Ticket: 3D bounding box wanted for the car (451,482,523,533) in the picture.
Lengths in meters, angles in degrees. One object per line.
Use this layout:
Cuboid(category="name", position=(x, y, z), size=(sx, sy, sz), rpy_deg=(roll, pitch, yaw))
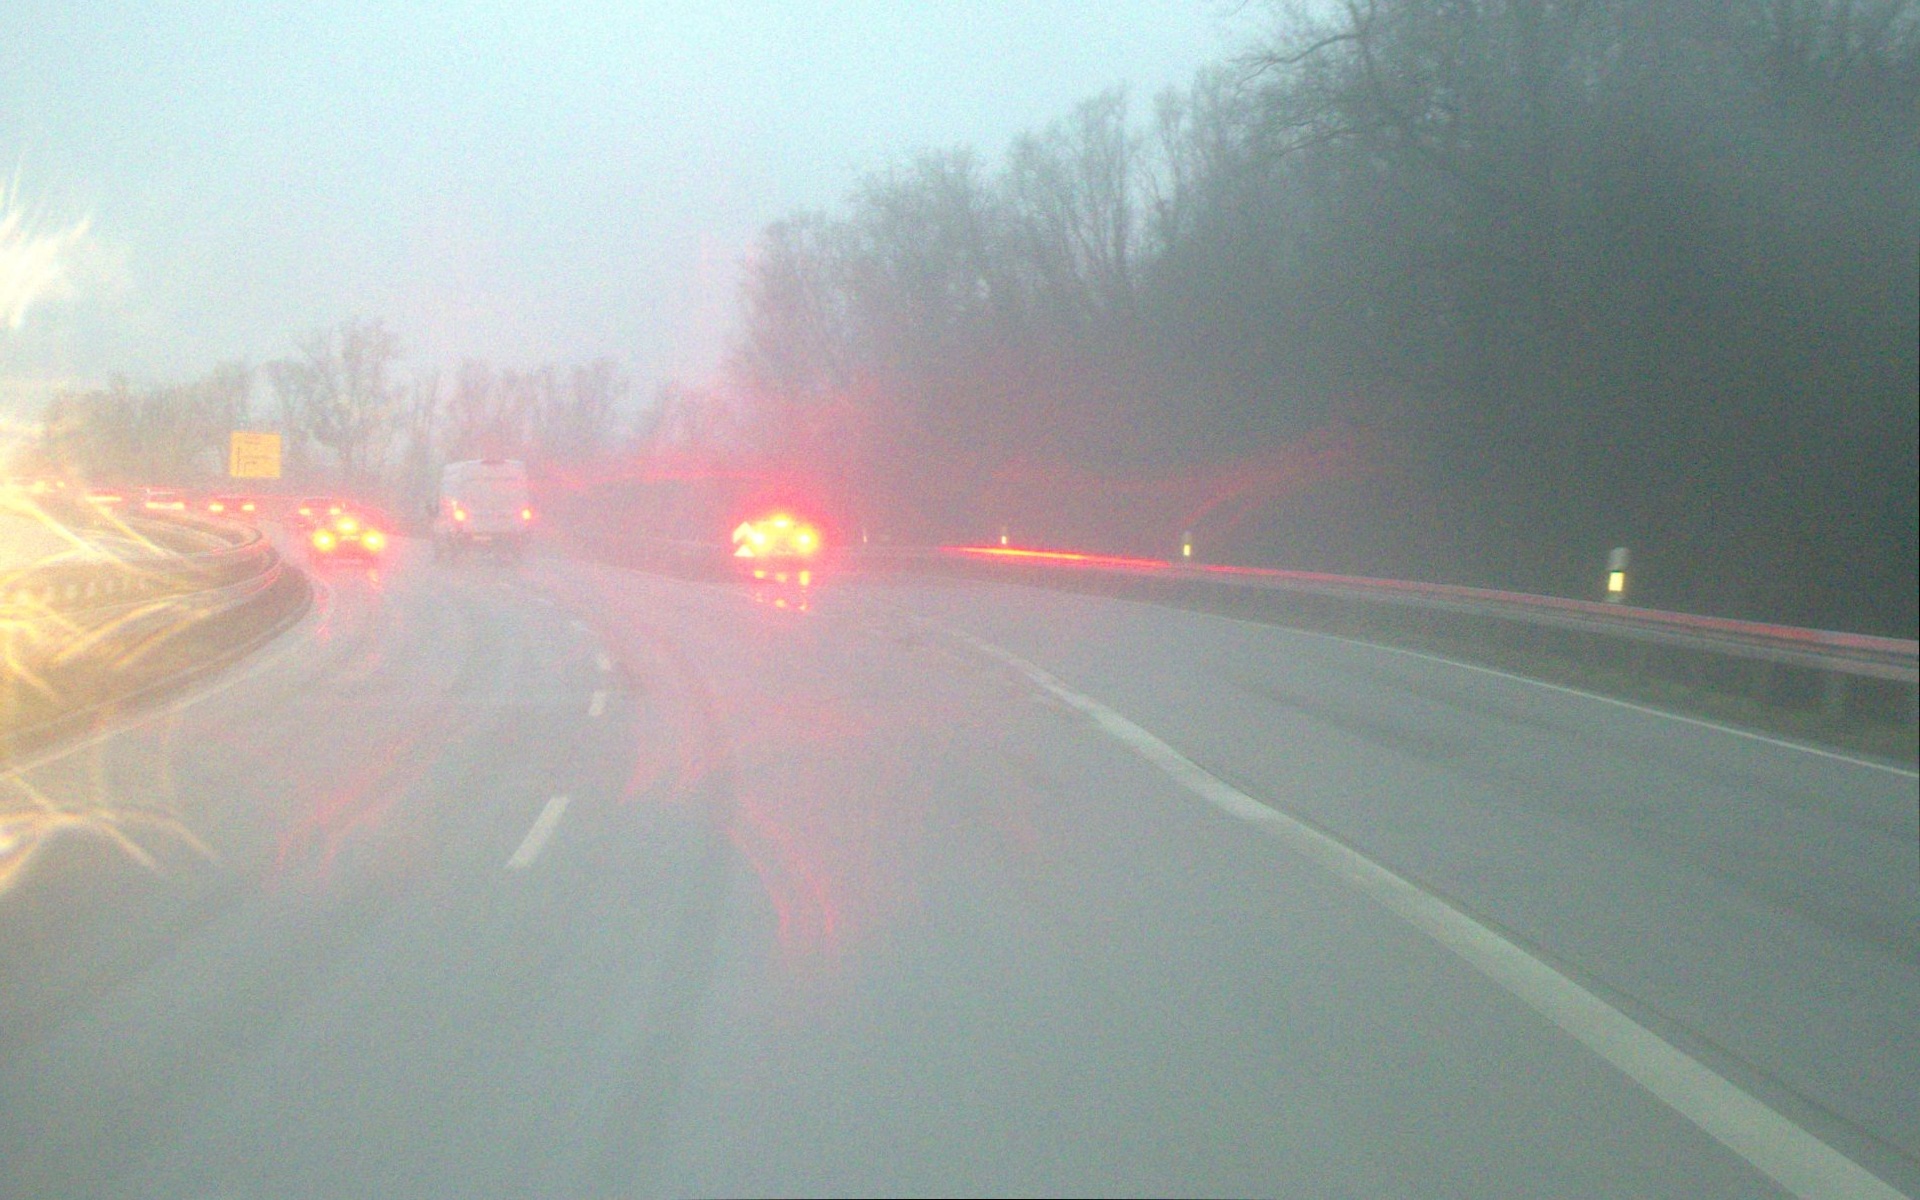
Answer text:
Cuboid(category="car", position=(-12.826, -2.506, 93.385), size=(1.416, 1.312, 3.083), rpy_deg=(2, 1, 1))
